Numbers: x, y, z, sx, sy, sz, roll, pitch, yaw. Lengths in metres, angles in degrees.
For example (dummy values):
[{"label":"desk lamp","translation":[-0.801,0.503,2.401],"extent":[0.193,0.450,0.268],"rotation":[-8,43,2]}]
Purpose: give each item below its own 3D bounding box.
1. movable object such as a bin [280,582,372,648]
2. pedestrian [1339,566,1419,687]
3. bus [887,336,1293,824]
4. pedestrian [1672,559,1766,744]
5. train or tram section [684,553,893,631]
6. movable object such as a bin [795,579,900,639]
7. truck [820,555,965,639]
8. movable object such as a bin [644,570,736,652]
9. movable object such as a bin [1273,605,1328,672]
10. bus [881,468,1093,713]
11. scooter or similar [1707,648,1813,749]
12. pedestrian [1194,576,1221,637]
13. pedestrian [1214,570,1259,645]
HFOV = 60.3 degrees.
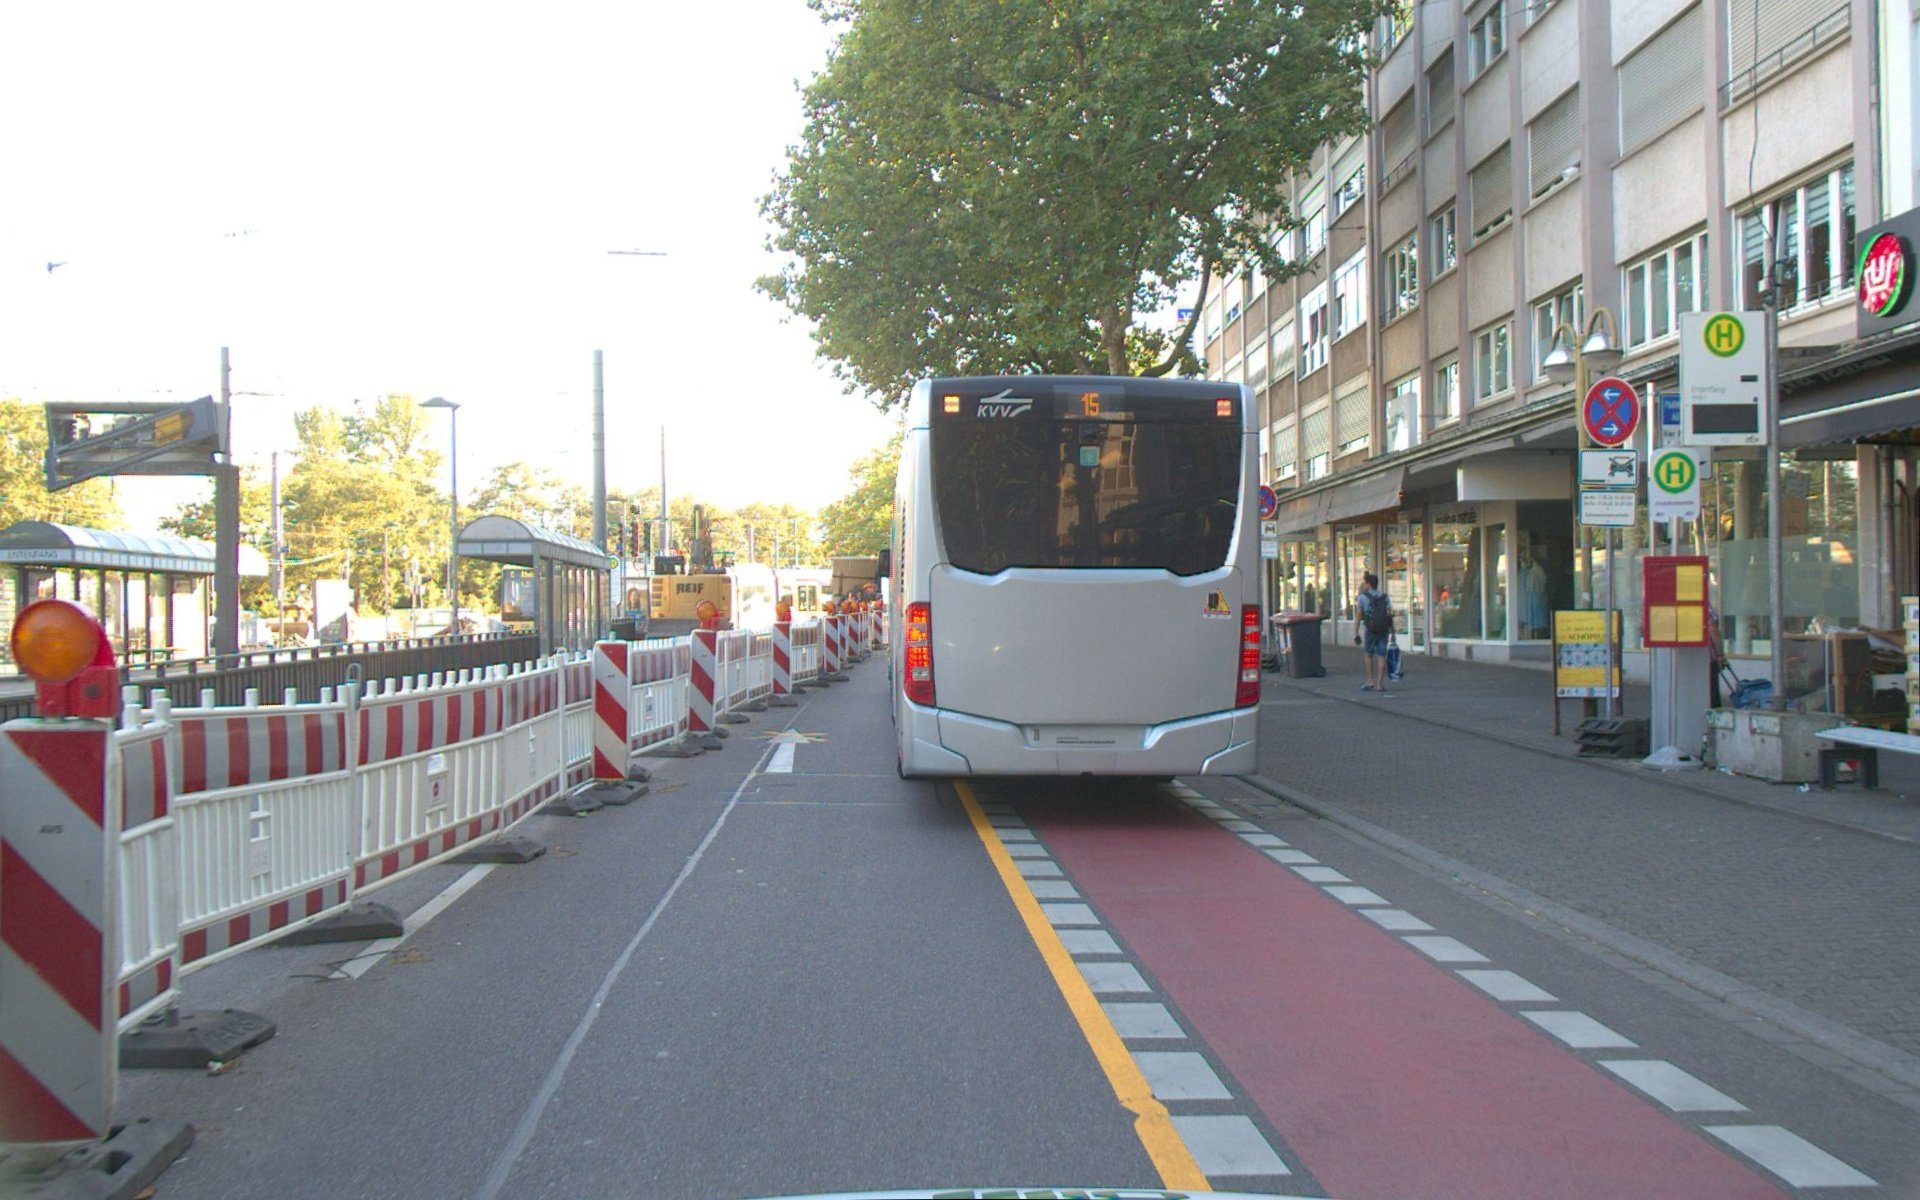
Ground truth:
[{"label":"movable object such as a bin","translation":[-27.065,0.636,70.759],"extent":[2.107,2.685,4.599],"rotation":[-1,0,0]},{"label":"pedestrian","translation":[6.100,0.379,24.131],"extent":[0.826,1.702,0.990],"rotation":[-2,0,-2]},{"label":"bus","translation":[0.642,-0.153,16.247],"extent":[2.678,3.194,10.698],"rotation":[0,0,-2]},{"label":"pedestrian","translation":[7.117,0.477,15.528],"extent":[0.632,1.702,0.556],"rotation":[-1,0,5]},{"label":"train or tram section","translation":[-8.356,-0.418,83.394],"extent":[2.798,3.595,13.361],"rotation":[-1,0,32]},{"label":"movable object such as a bin","translation":[-4.431,0.337,66.179],"extent":[1.954,2.296,5.204],"rotation":[1,0,25]},{"label":"truck","translation":[-2.931,-0.127,75.733],"extent":[2.756,3.603,8.976],"rotation":[-1,0,25]},{"label":"movable object such as a bin","translation":[-8.258,0.319,51.021],"extent":[2.593,2.358,4.894],"rotation":[0,0,-7]},{"label":"movable object such as a bin","translation":[5.910,0.656,28.755],"extent":[0.660,1.094,1.228],"rotation":[-1,1,-1]},{"label":"bus","translation":[0.146,-0.120,26.029],"extent":[2.655,3.161,8.973],"rotation":[-1,0,-3]},{"label":"scooter or similar","translation":[7.170,0.873,14.840],"extent":[0.564,0.858,0.733],"rotation":[0,0,-4]},{"label":"pedestrian","translation":[7.291,0.194,48.667],"extent":[0.571,1.738,0.679],"rotation":[-4,0,-2]},{"label":"pedestrian","translation":[7.379,0.203,44.206],"extent":[0.821,1.901,1.099],"rotation":[-5,0,-2]}]
